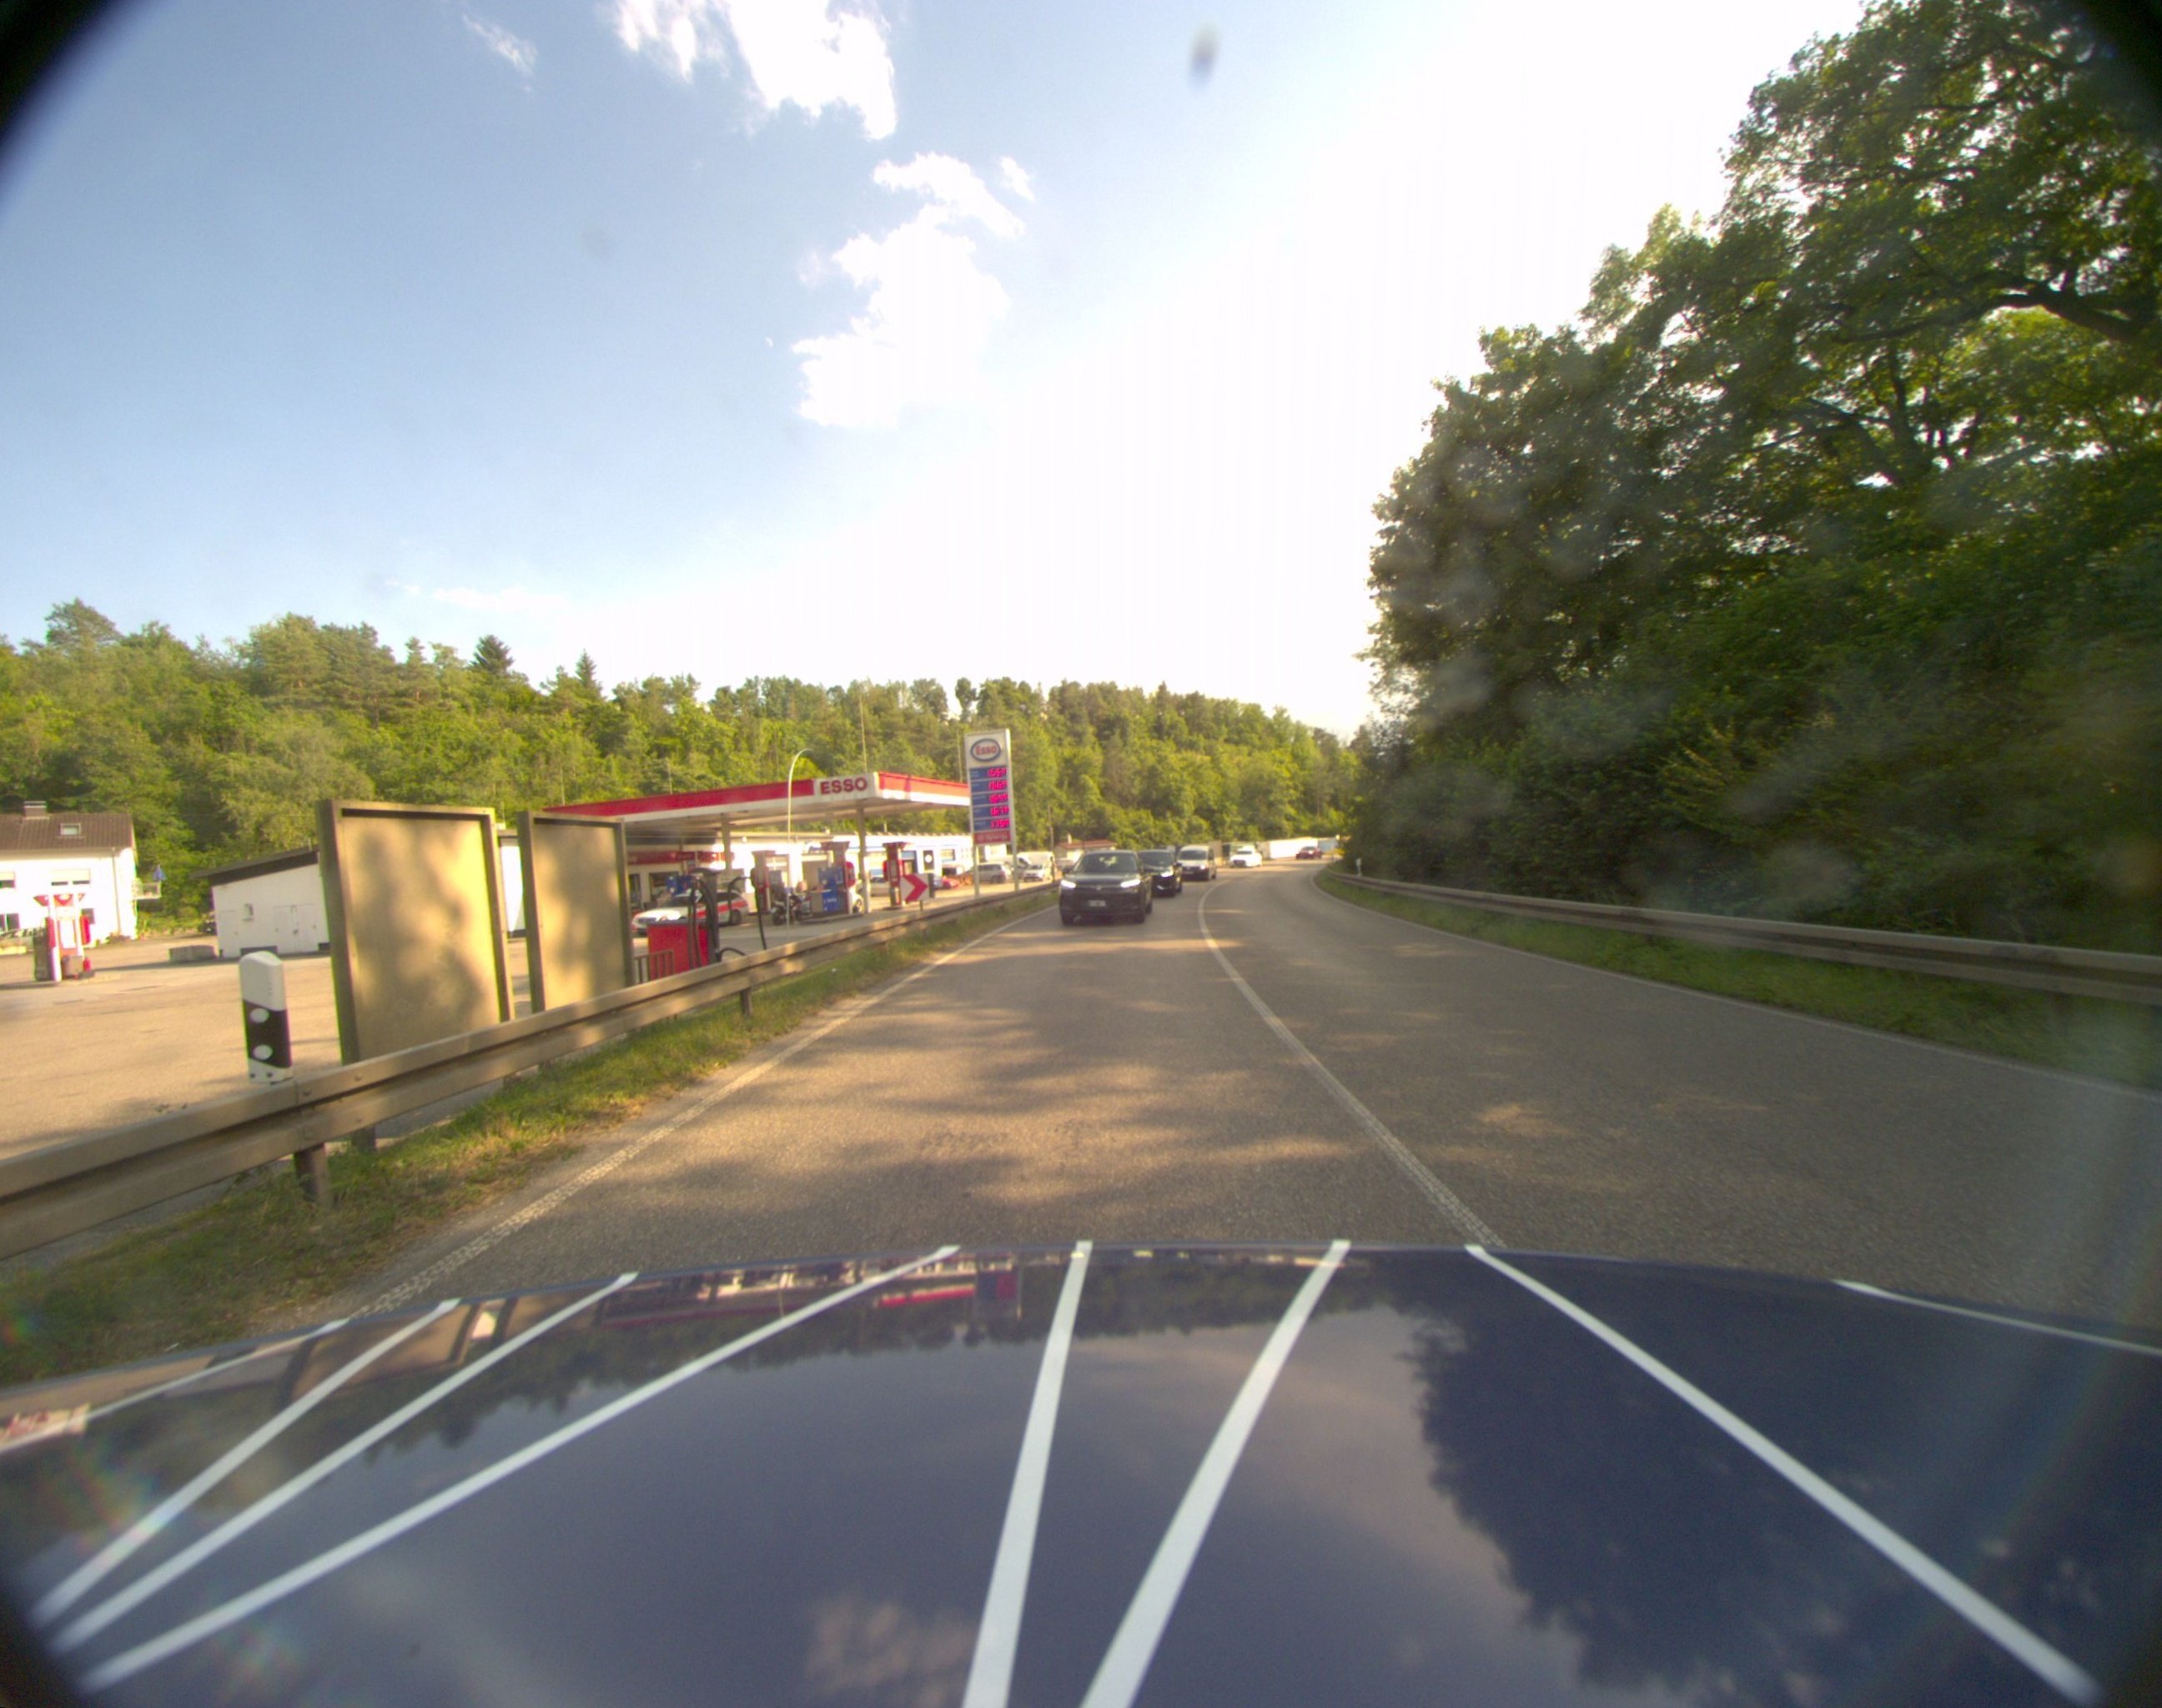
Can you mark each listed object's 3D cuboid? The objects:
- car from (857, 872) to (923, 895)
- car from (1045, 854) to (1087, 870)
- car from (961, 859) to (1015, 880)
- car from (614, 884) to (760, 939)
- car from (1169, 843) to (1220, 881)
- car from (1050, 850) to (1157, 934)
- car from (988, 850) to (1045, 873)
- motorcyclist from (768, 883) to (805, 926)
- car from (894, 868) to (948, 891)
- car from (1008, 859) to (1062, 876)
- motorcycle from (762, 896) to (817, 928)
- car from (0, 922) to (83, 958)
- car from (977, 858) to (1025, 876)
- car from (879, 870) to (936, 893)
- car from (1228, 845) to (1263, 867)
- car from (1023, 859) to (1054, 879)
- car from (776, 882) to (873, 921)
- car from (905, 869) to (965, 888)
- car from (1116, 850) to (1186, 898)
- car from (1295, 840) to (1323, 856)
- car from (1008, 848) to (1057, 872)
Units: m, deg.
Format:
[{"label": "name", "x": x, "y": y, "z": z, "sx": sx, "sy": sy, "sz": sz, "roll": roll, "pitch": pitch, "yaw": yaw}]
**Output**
[{"label": "car", "x": -13.216, "y": 2.041, "z": 52.629, "sx": 3.963, "sy": 1.347, "sz": 1.778, "roll": -2, "pitch": 1, "yaw": 10}, {"label": "car", "x": -1.693, "y": 0.903, "z": 87.300, "sx": 4.410, "sy": 1.660, "sz": 1.939, "roll": -1, "pitch": 0, "yaw": -26}, {"label": "car", "x": -8.123, "y": 1.379, "z": 66.718, "sx": 4.254, "sy": 1.719, "sz": 1.893, "roll": -1, "pitch": 1, "yaw": 12}, {"label": "car", "x": -15.262, "y": 2.169, "z": 29.862, "sx": 2.095, "sy": 1.618, "sz": 5.185, "roll": -3, "pitch": 0, "yaw": 14}, {"label": "car", "x": 5.963, "y": 0.369, "z": 39.540, "sx": 1.865, "sy": 1.711, "sz": 4.768, "roll": -1, "pitch": 1, "yaw": 17}, {"label": "car", "x": 0.667, "y": 0.767, "z": 17.487, "sx": 1.858, "sy": 1.630, "sz": 4.444, "roll": -1, "pitch": 1, "yaw": 9}, {"label": "car", "x": -6.764, "y": 0.803, "z": 79.898, "sx": 5.481, "sy": 2.261, "sz": 2.297, "roll": -2, "pitch": 1, "yaw": 14}, {"label": "motorcyclist", "x": -11.535, "y": 1.961, "z": 29.756, "sx": 0.859, "sy": 1.595, "sz": 0.928, "roll": -4, "pitch": 1, "yaw": 14}, {"label": "car", "x": -12.045, "y": 1.930, "z": 57.283, "sx": 3.549, "sy": 1.437, "sz": 1.735, "roll": -3, "pitch": 1, "yaw": 14}, {"label": "car", "x": -4.399, "y": 1.289, "z": 72.354, "sx": 4.727, "sy": 1.426, "sz": 1.959, "roll": -1, "pitch": 1, "yaw": 12}, {"label": "motorcycle", "x": -11.451, "y": 2.260, "z": 29.992, "sx": 0.763, "sy": 1.006, "sz": 2.343, "roll": -3, "pitch": 0, "yaw": 14}, {"label": "car", "x": -65.373, "y": 5.347, "z": 46.349, "sx": 2.695, "sy": 1.826, "sz": 5.175, "roll": -4, "pitch": 0, "yaw": 41}, {"label": "car", "x": -7.950, "y": 1.285, "z": 75.288, "sx": 4.246, "sy": 1.601, "sz": 1.896, "roll": -2, "pitch": 1, "yaw": 14}, {"label": "car", "x": -12.593, "y": 1.975, "z": 55.122, "sx": 3.555, "sy": 1.398, "sz": 1.692, "roll": -3, "pitch": 1, "yaw": 14}, {"label": "car", "x": 12.903, "y": 0.132, "z": 59.295, "sx": 1.894, "sy": 1.437, "sz": 4.481, "roll": -4, "pitch": 0, "yaw": 22}, {"label": "car", "x": -3.751, "y": 1.319, "z": 67.157, "sx": 1.793, "sy": 1.587, "sz": 3.991, "roll": -1, "pitch": 1, "yaw": 11}, {"label": "car", "x": -11.191, "y": 2.032, "z": 33.535, "sx": 1.845, "sy": 1.311, "sz": 4.394, "roll": -3, "pitch": 0, "yaw": 15}, {"label": "car", "x": -11.388, "y": 1.905, "z": 59.313, "sx": 4.073, "sy": 1.340, "sz": 1.897, "roll": -2, "pitch": 1, "yaw": 14}, {"label": "car", "x": 2.587, "y": 0.665, "z": 27.073, "sx": 1.846, "sy": 1.560, "sz": 4.262, "roll": -1, "pitch": 0, "yaw": 14}, {"label": "car", "x": 24.040, "y": -0.652, "z": 79.944, "sx": 1.856, "sy": 1.412, "sz": 4.426, "roll": -4, "pitch": 0, "yaw": 30}, {"label": "car", "x": -5.317, "y": 0.637, "z": 83.466, "sx": 4.915, "sy": 2.435, "sz": 2.209, "roll": -2, "pitch": 1, "yaw": 12}]
